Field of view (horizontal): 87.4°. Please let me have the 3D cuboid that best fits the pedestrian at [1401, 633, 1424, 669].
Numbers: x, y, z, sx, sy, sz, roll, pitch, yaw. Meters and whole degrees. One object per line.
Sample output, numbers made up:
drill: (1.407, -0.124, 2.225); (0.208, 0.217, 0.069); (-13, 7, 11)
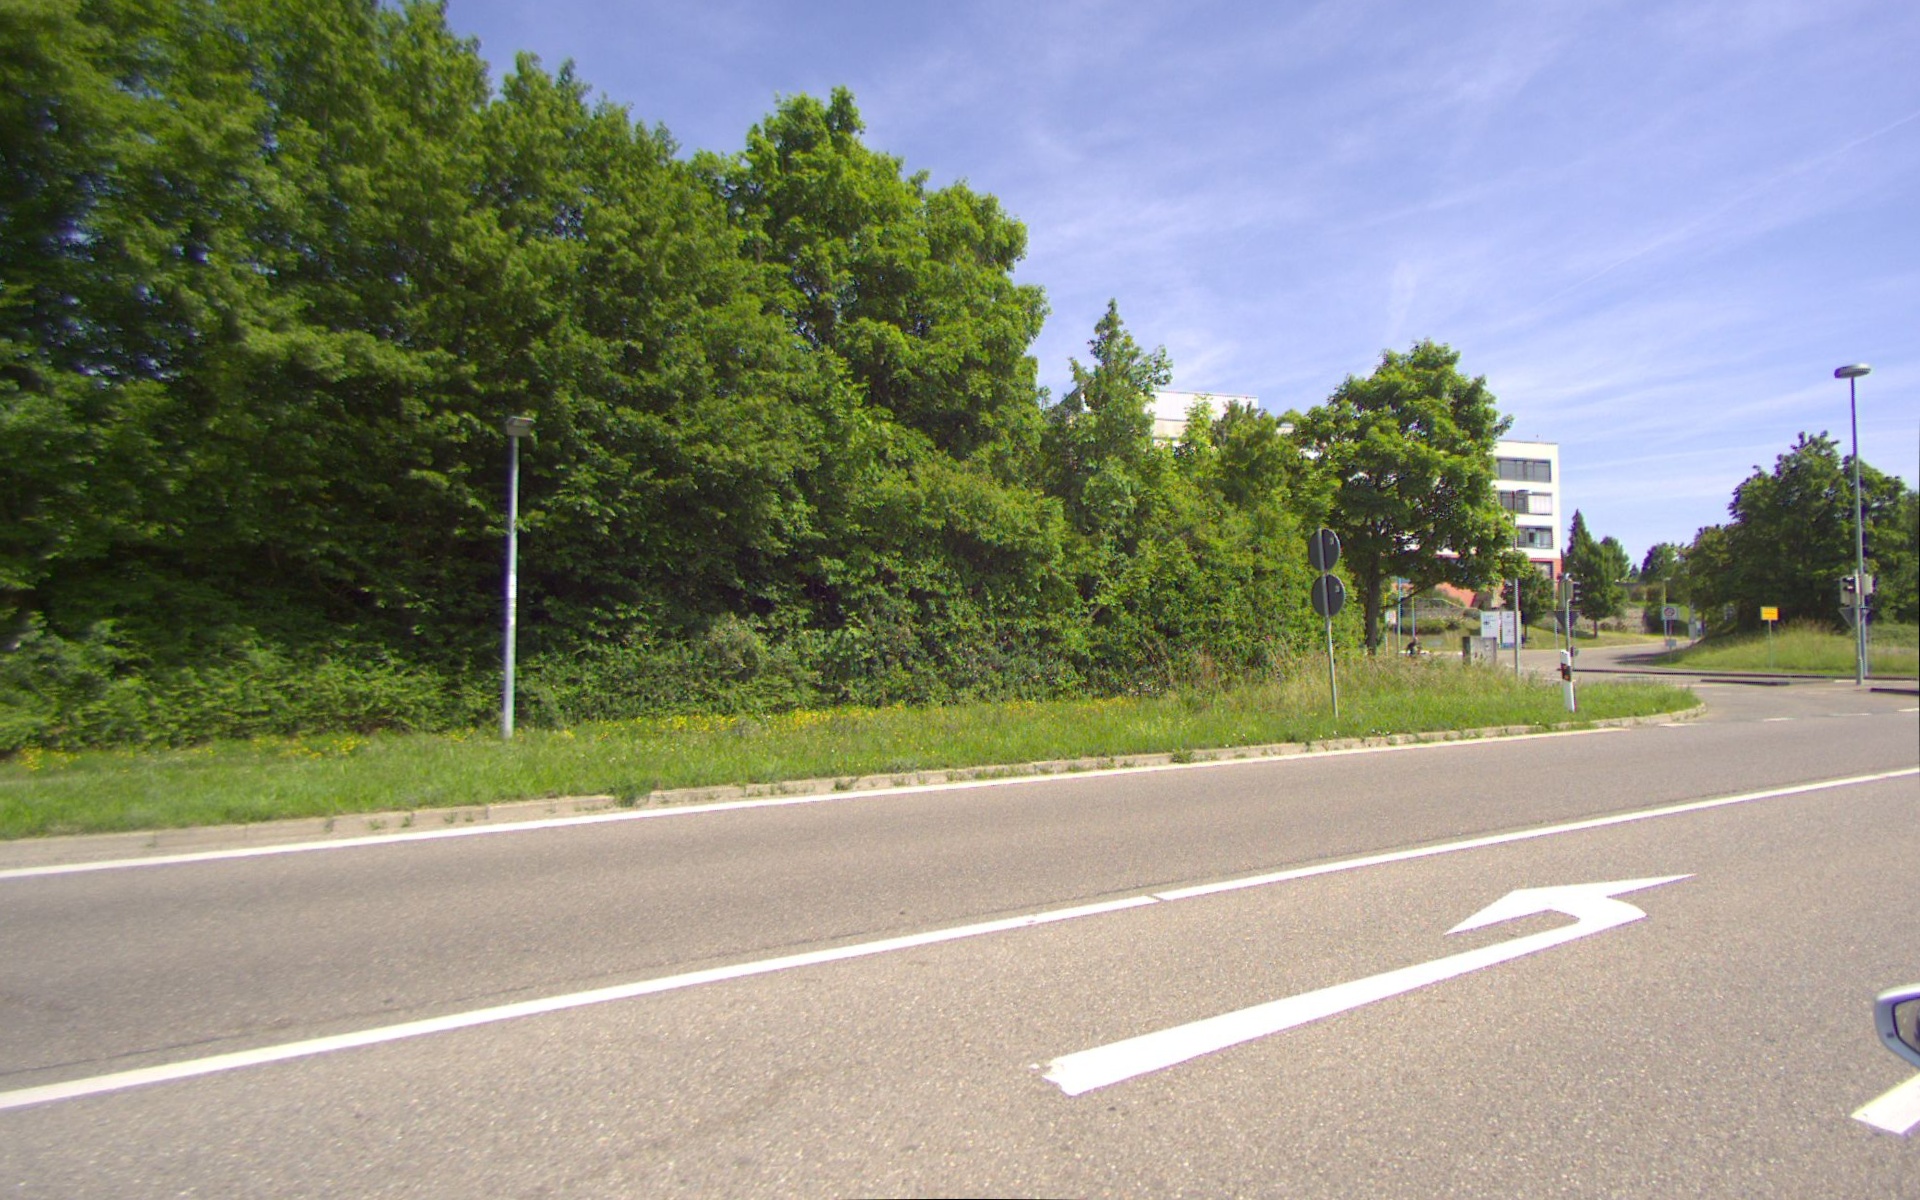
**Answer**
pedestrian: (22.482, 2.512, 49.909); (0.881, 1.758, 0.923); (0, -1, 10)
